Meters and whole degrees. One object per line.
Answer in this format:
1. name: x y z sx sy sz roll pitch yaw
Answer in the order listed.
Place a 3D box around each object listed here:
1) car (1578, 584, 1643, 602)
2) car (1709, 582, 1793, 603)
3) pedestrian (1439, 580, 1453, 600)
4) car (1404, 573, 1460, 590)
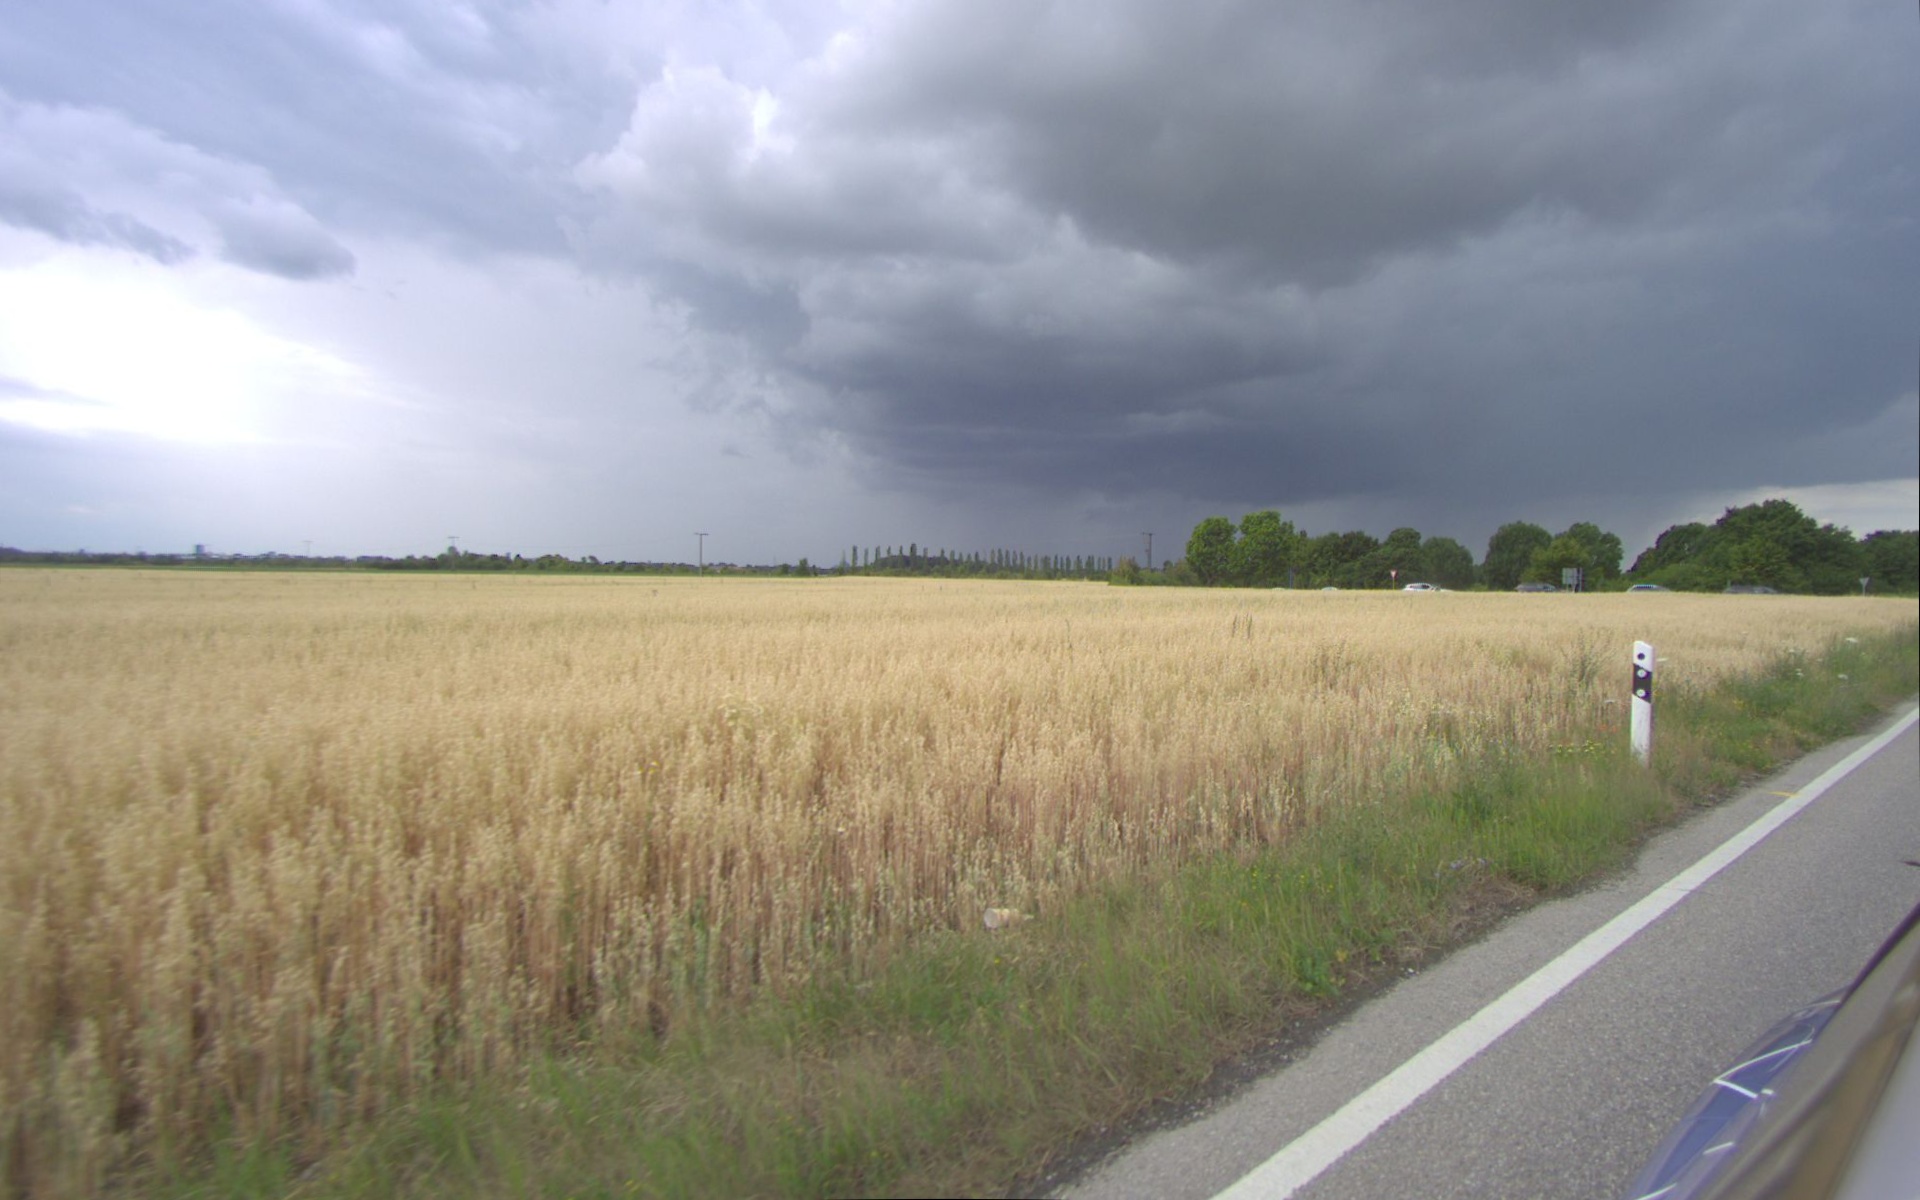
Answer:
1. car: 53.923 -0.602 83.989 1.690 1.370 4.214 0 2 -35
2. car: 59.405 -0.596 76.044 1.689 1.369 4.698 -3 3 -33
3. pedestrian: 39.896 -0.838 83.050 0.939 1.631 0.763 1 1 37
4. car: 44.891 -1.821 96.264 1.690 1.512 4.639 -3 3 -35
